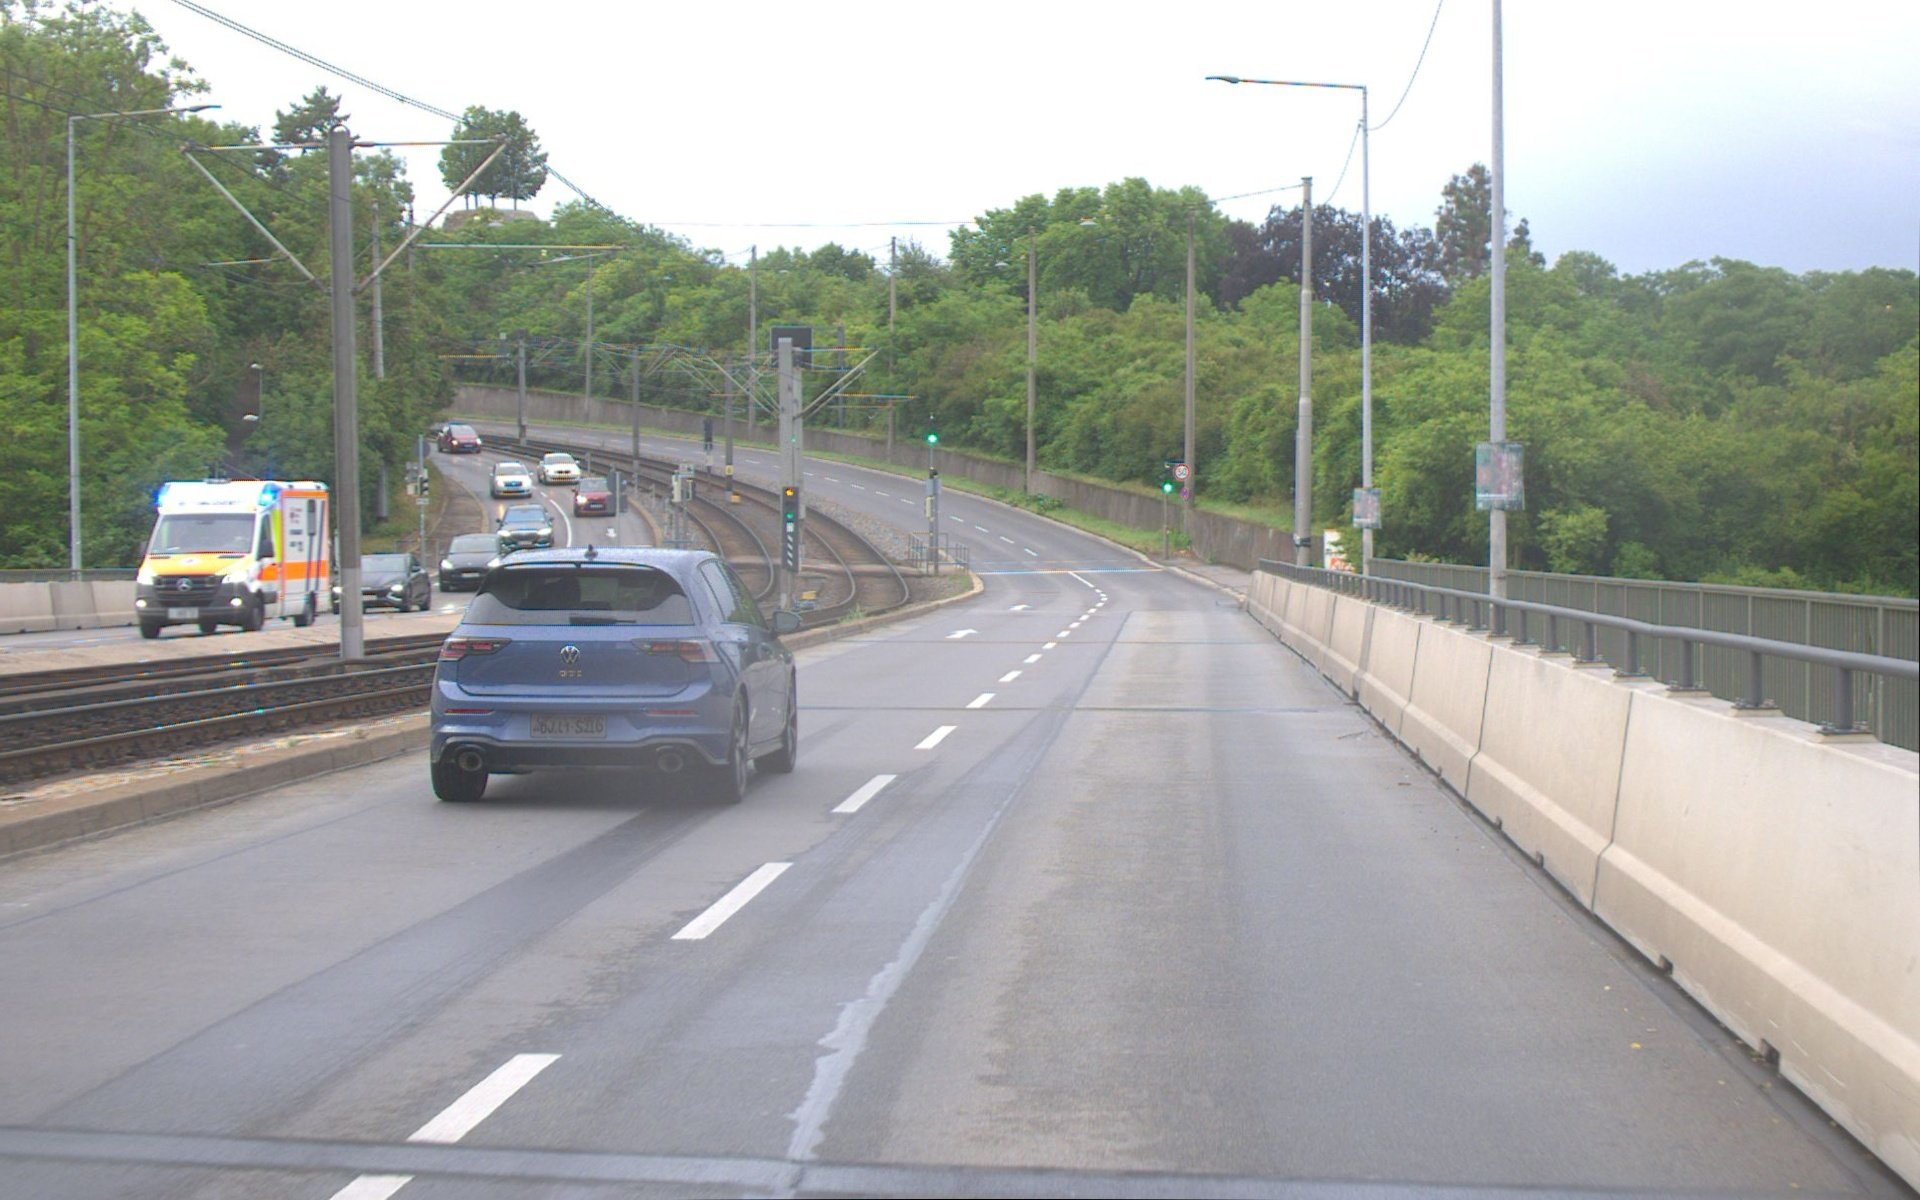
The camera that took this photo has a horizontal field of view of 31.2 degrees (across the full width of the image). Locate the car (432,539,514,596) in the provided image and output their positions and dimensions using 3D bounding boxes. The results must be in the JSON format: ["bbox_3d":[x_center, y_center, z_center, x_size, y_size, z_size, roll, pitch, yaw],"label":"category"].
[{"bbox_3d":[-14.612,-0.995,103.344,1.896,1.592,4.733,-1,2,-2],"label":"car"}]

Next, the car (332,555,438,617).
[{"bbox_3d":[-14.146,-0.368,84.856,1.816,1.431,4.741,0,1,0],"label":"car"}]

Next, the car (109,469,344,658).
[{"bbox_3d":[-12.715,-0.653,60.113,2.390,3.105,6.356,1,1,3],"label":"car"}]

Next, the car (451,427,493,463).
[{"bbox_3d":[-28.413,-9.040,199.996,1.847,1.591,4.736,-3,8,-14],"label":"car"}]

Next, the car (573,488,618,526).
[{"bbox_3d":[-15.108,-3.877,142.495,1.600,1.488,3.019,-2,3,-10],"label":"car"}]

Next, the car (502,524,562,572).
[{"bbox_3d":[-15.467,-1.872,123.993,1.968,1.592,5.186,-1,0,-9],"label":"car"}]

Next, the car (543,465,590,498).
[{"bbox_3d":[-19.144,-5.739,167.273,1.729,1.432,4.493,-1,0,-13],"label":"car"}]

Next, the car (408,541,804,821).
[{"bbox_3d":[-2.020,0.411,20.704,1.763,1.496,4.000,1,1,3],"label":"car"}]

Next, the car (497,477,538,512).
[{"bbox_3d":[-20.291,-4.809,157.427,1.820,1.510,4.530,0,1,-8],"label":"car"}]
